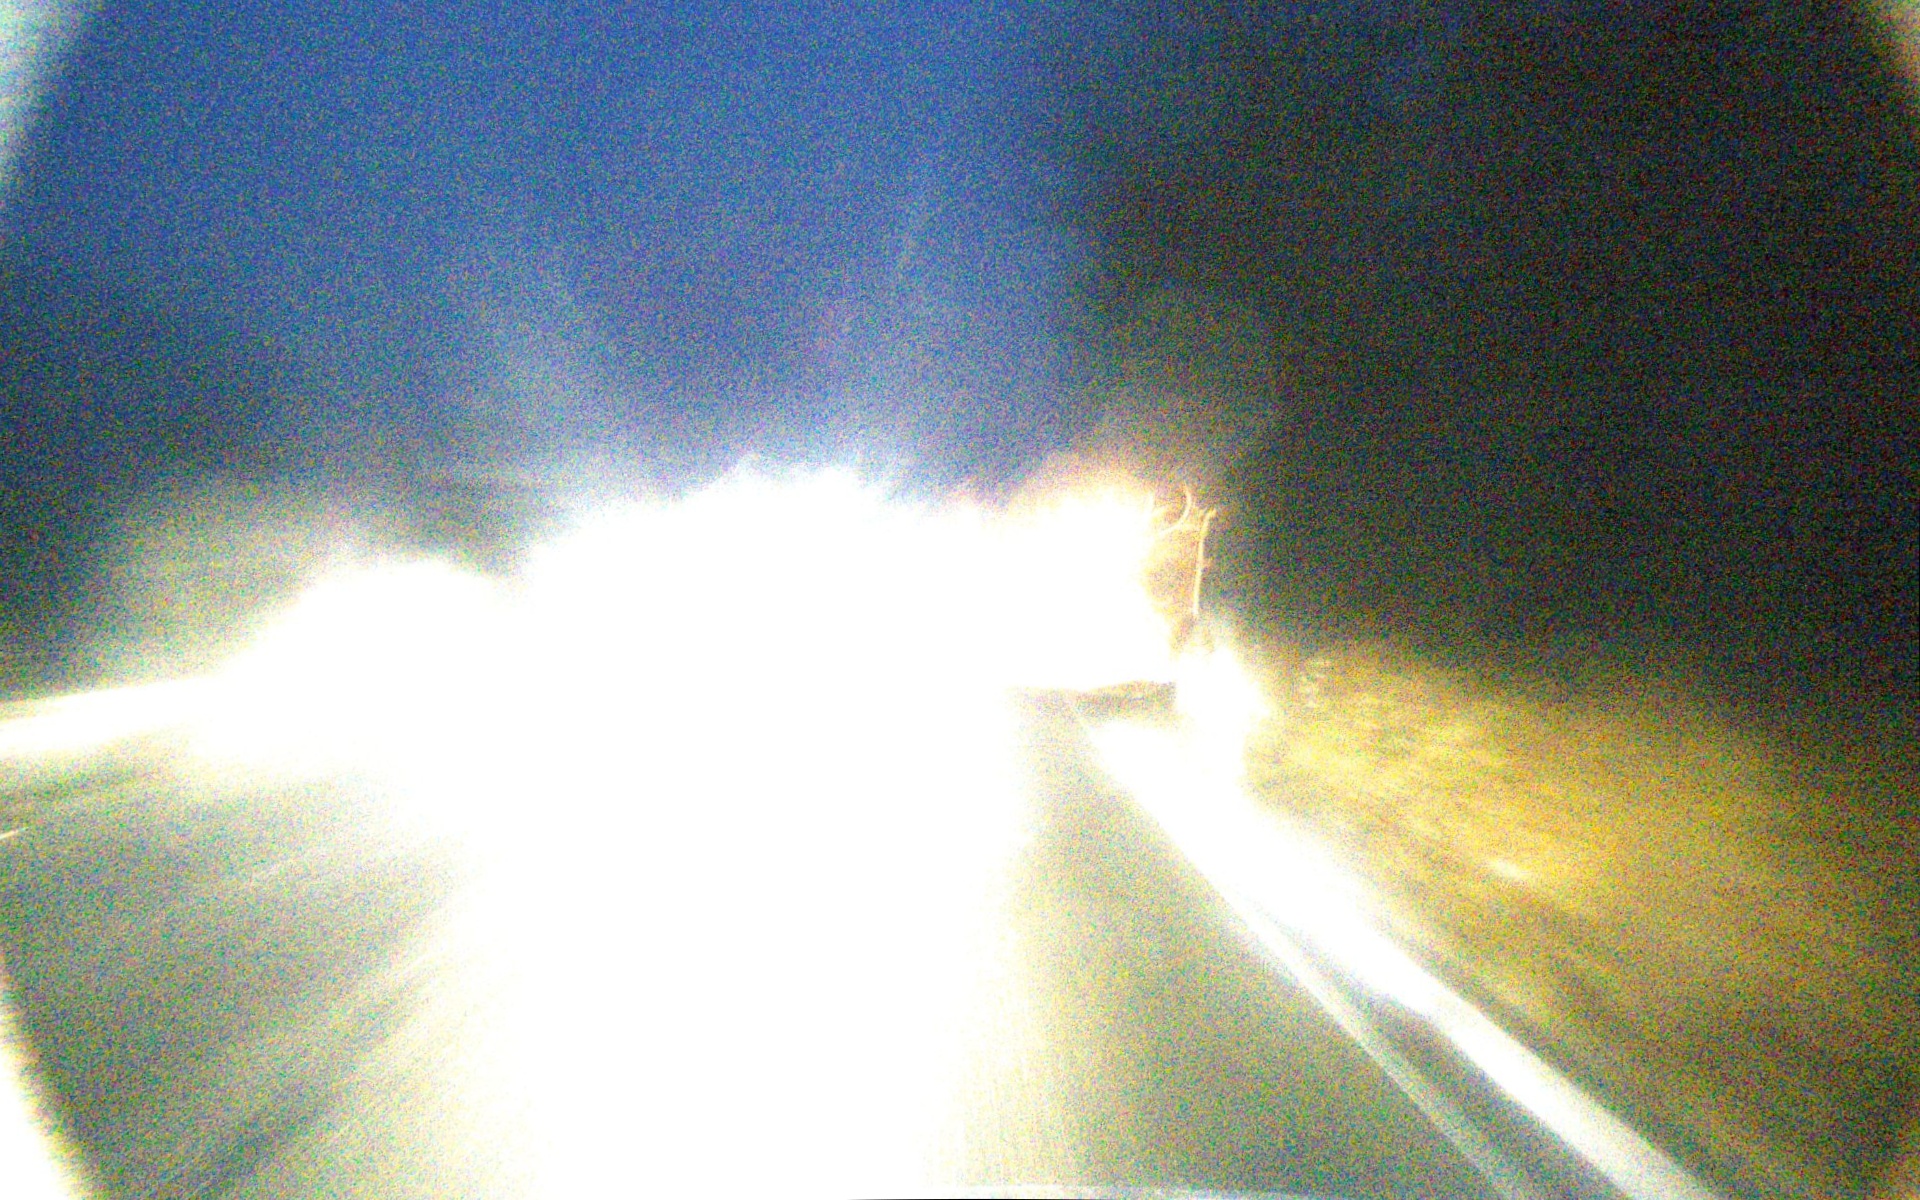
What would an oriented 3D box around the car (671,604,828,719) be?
[{"bbox_3d":[-3.363,0.977,27.304,1.952,1.722,4.697,1,-1,0],"label":"car"}]
